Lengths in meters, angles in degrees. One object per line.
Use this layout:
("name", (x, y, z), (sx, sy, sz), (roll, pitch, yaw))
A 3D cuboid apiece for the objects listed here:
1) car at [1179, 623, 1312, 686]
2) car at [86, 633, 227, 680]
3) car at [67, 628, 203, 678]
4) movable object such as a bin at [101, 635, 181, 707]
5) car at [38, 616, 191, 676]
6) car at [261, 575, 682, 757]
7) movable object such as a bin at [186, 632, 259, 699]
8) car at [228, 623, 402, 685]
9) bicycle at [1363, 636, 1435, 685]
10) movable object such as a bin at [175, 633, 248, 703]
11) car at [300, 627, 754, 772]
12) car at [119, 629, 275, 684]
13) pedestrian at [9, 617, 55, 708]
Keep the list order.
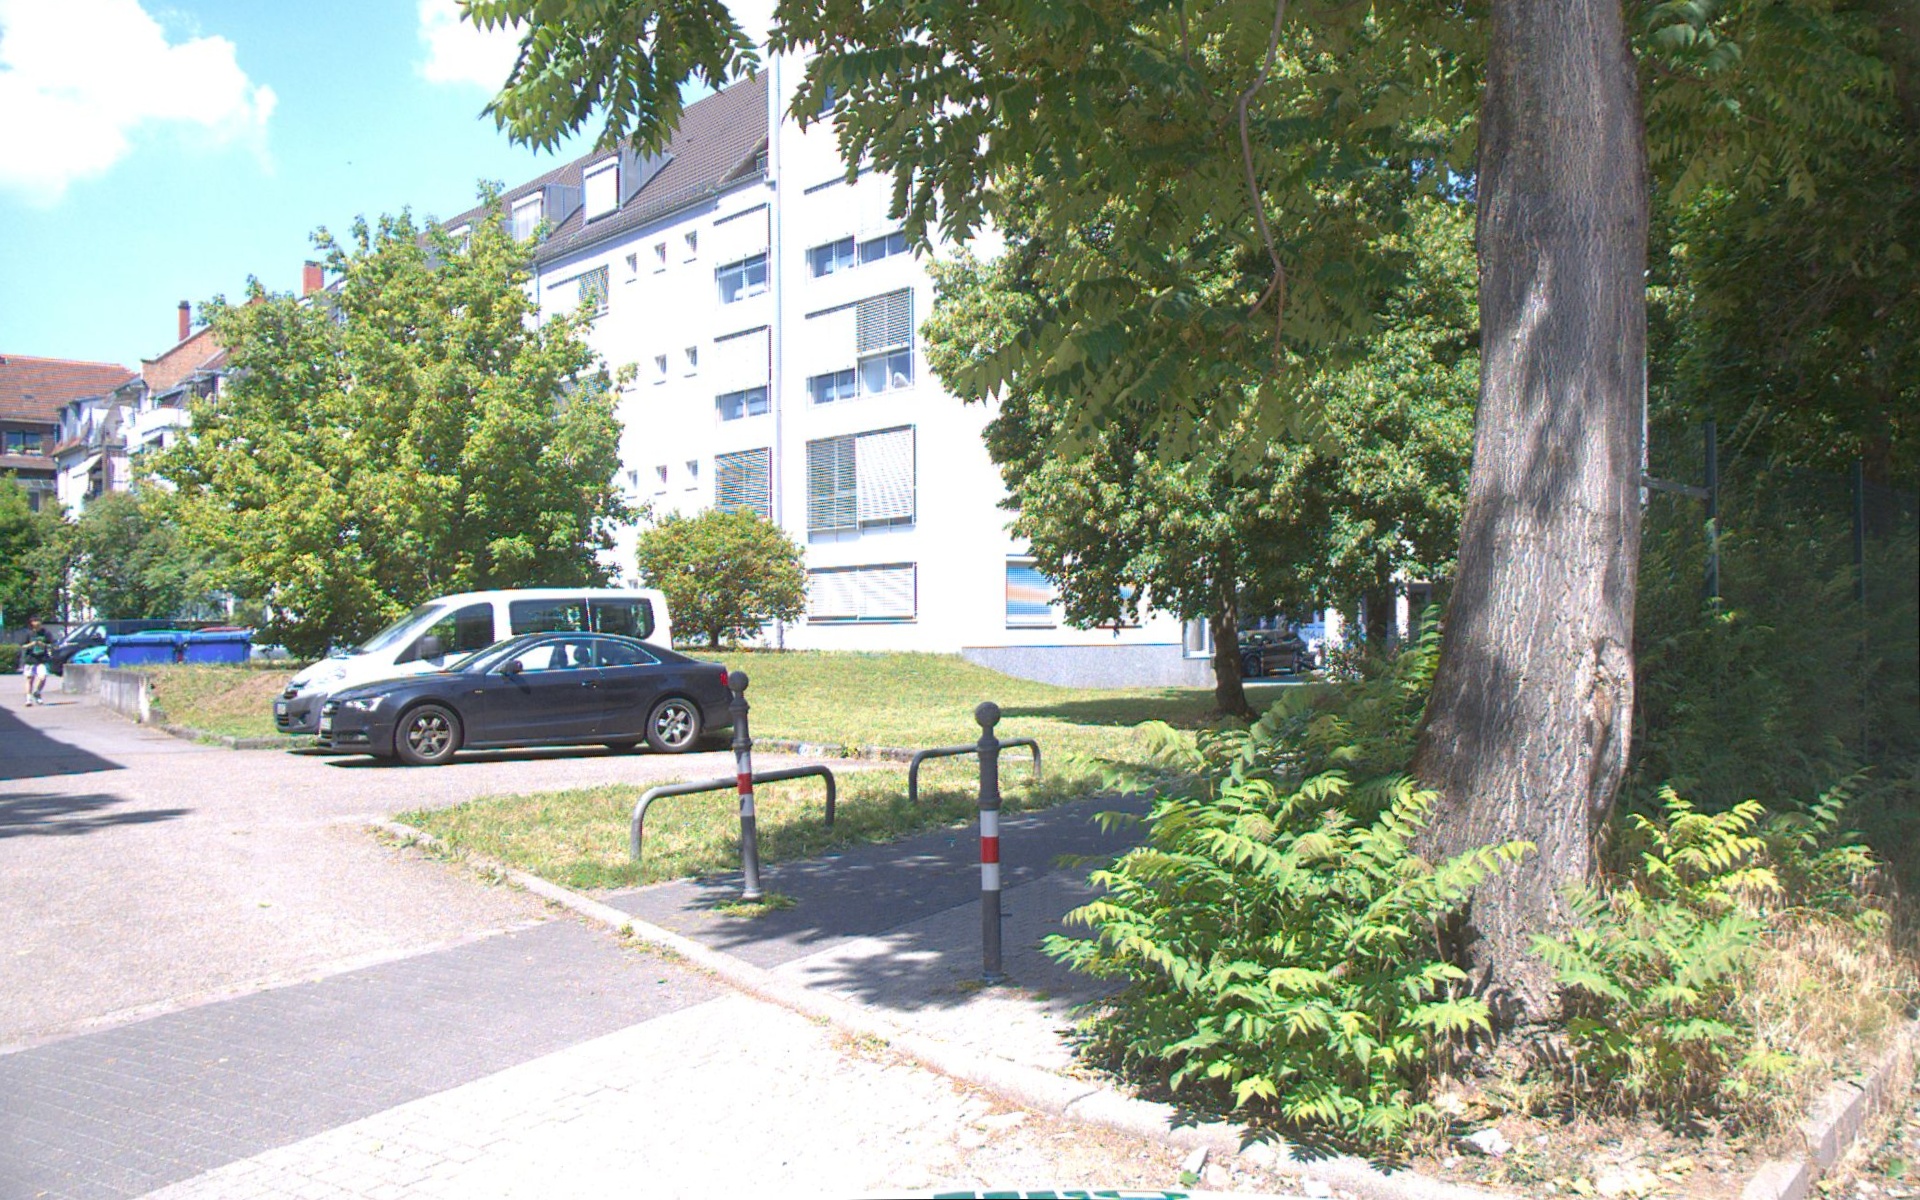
("car", (8.047, 1.500, 46.564), (3.586, 1.649, 1.653), (0, -1, -35))
("car", (-26.463, 1.828, 54.501), (3.956, 1.414, 1.781), (-1, -1, -37))
("car", (-28.318, 1.789, 56.797), (3.956, 1.561, 1.781), (-1, -1, -37))
("movable object such as a bin", (-16.124, 1.377, 32.555), (1.326, 1.350, 1.148), (-1, -1, -32))
("car", (-30.203, 1.613, 59.149), (4.641, 1.992, 2.050), (-1, -1, -37))
("car", (-6.072, 0.763, 20.773), (4.719, 2.049, 1.976), (0, -2, -35))
("movable object such as a bin", (-15.580, 1.366, 34.946), (1.207, 1.350, 1.145), (-1, -1, -36))
("car", (-16.832, 1.376, 43.233), (3.956, 1.504, 1.781), (0, -1, -37))
("bicycle", (10.523, 1.439, 39.613), (1.919, 1.103, 0.594), (0, -1, -37))
("movable object such as a bin", (-15.084, 1.356, 33.311), (1.204, 1.350, 1.148), (-1, -1, -32))
("car", (-4.742, 1.018, 18.398), (4.572, 1.376, 1.811), (0, -1, -35))
("car", (-22.662, 1.654, 49.158), (3.956, 1.504, 1.781), (-1, -1, -37))
("pedestrian", (-18.531, 1.239, 33.021), (0.750, 1.786, 0.743), (0, -1, -33))
